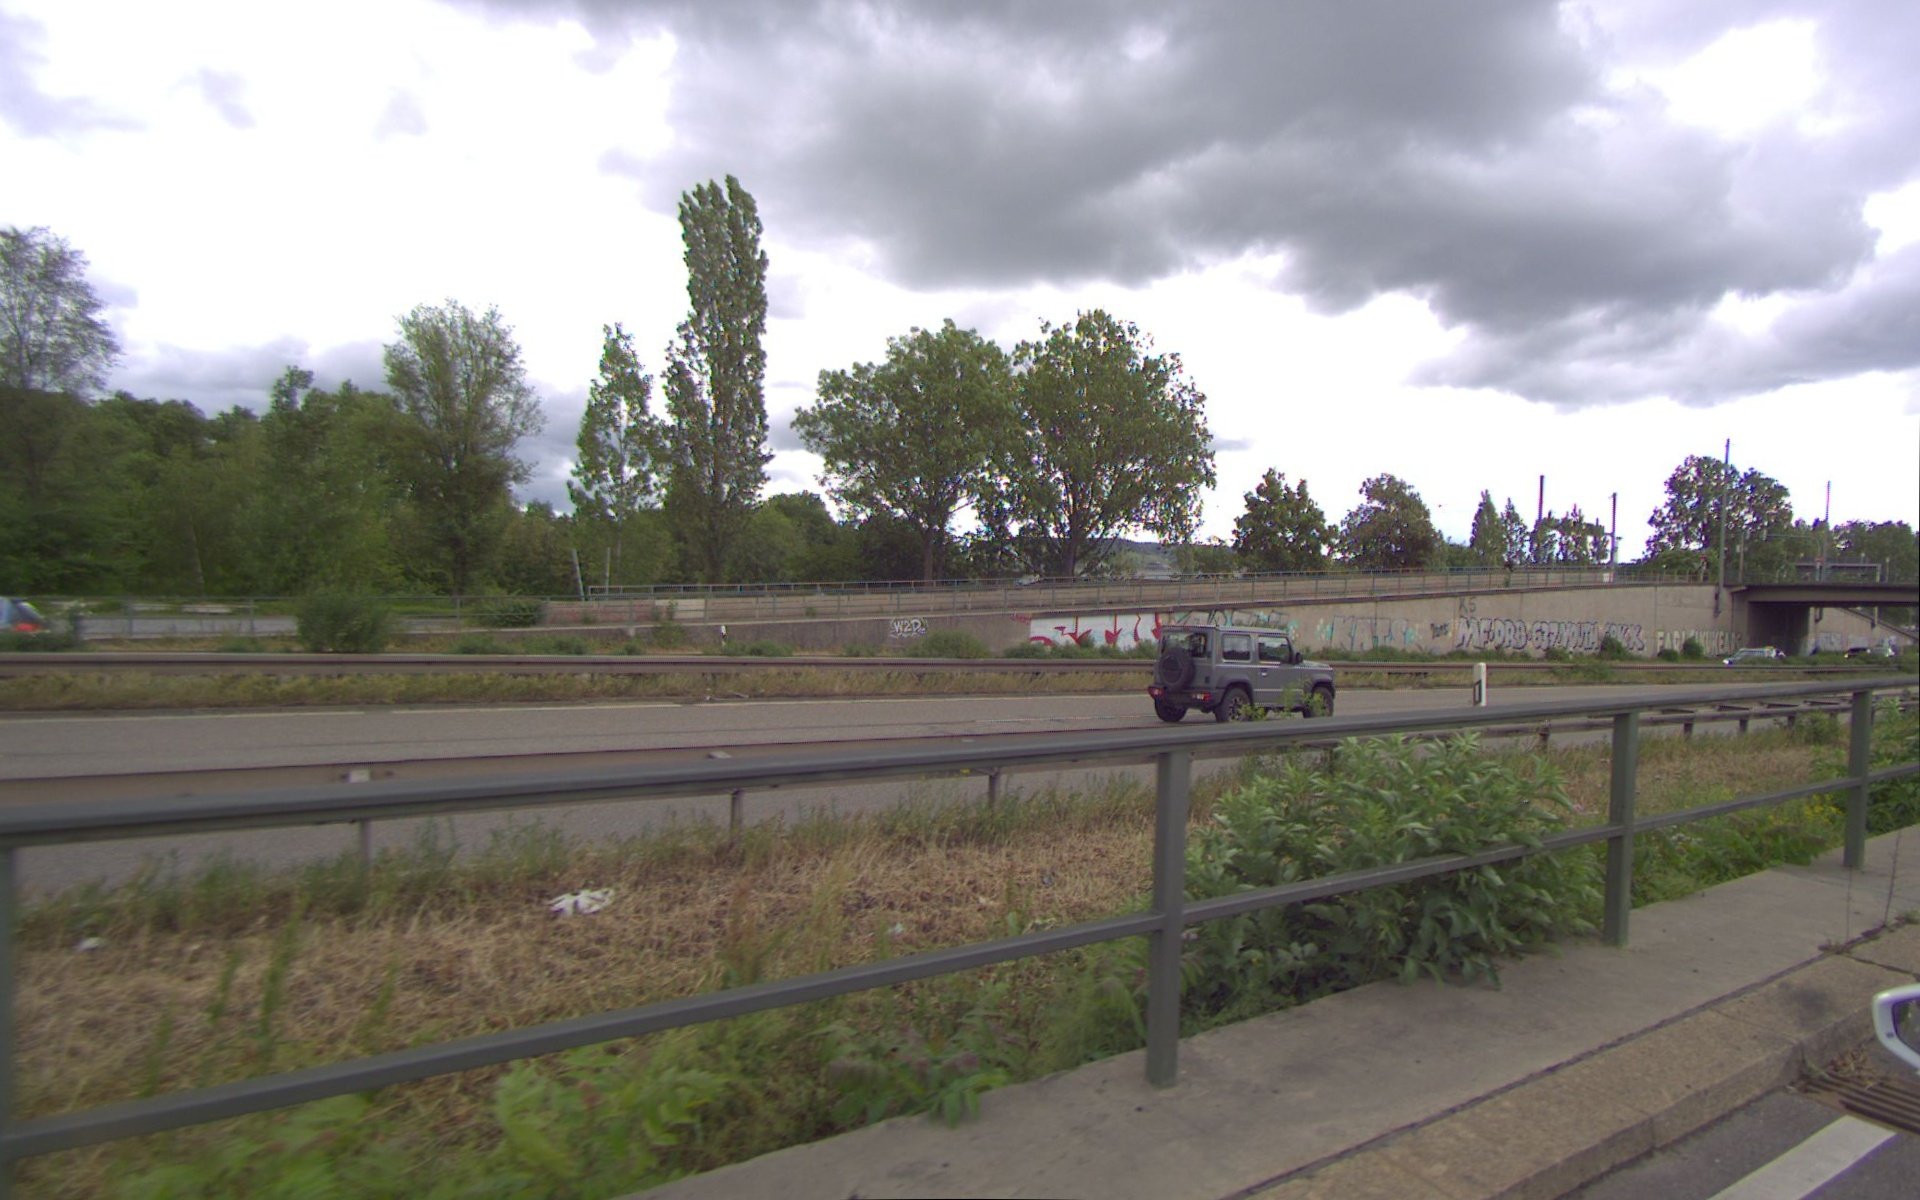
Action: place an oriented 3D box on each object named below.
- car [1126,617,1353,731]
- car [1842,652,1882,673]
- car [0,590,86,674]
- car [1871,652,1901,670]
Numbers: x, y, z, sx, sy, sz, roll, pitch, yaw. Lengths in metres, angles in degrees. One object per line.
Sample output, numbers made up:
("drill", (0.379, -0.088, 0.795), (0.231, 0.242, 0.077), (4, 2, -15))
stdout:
("car", (4.946, 1.243, 17.594), (3.957, 1.759, 1.670), (2, -1, -34))
("car", (82.543, 5.754, 91.915), (4.663, 1.742, 1.978), (4, -2, -38))
("car", (-18.156, 0.527, 17.606), (3.955, 1.454, 1.983), (1, 0, -32))
("car", (94.197, 6.177, 102.147), (4.673, 1.714, 1.974), (3, -1, -45))
